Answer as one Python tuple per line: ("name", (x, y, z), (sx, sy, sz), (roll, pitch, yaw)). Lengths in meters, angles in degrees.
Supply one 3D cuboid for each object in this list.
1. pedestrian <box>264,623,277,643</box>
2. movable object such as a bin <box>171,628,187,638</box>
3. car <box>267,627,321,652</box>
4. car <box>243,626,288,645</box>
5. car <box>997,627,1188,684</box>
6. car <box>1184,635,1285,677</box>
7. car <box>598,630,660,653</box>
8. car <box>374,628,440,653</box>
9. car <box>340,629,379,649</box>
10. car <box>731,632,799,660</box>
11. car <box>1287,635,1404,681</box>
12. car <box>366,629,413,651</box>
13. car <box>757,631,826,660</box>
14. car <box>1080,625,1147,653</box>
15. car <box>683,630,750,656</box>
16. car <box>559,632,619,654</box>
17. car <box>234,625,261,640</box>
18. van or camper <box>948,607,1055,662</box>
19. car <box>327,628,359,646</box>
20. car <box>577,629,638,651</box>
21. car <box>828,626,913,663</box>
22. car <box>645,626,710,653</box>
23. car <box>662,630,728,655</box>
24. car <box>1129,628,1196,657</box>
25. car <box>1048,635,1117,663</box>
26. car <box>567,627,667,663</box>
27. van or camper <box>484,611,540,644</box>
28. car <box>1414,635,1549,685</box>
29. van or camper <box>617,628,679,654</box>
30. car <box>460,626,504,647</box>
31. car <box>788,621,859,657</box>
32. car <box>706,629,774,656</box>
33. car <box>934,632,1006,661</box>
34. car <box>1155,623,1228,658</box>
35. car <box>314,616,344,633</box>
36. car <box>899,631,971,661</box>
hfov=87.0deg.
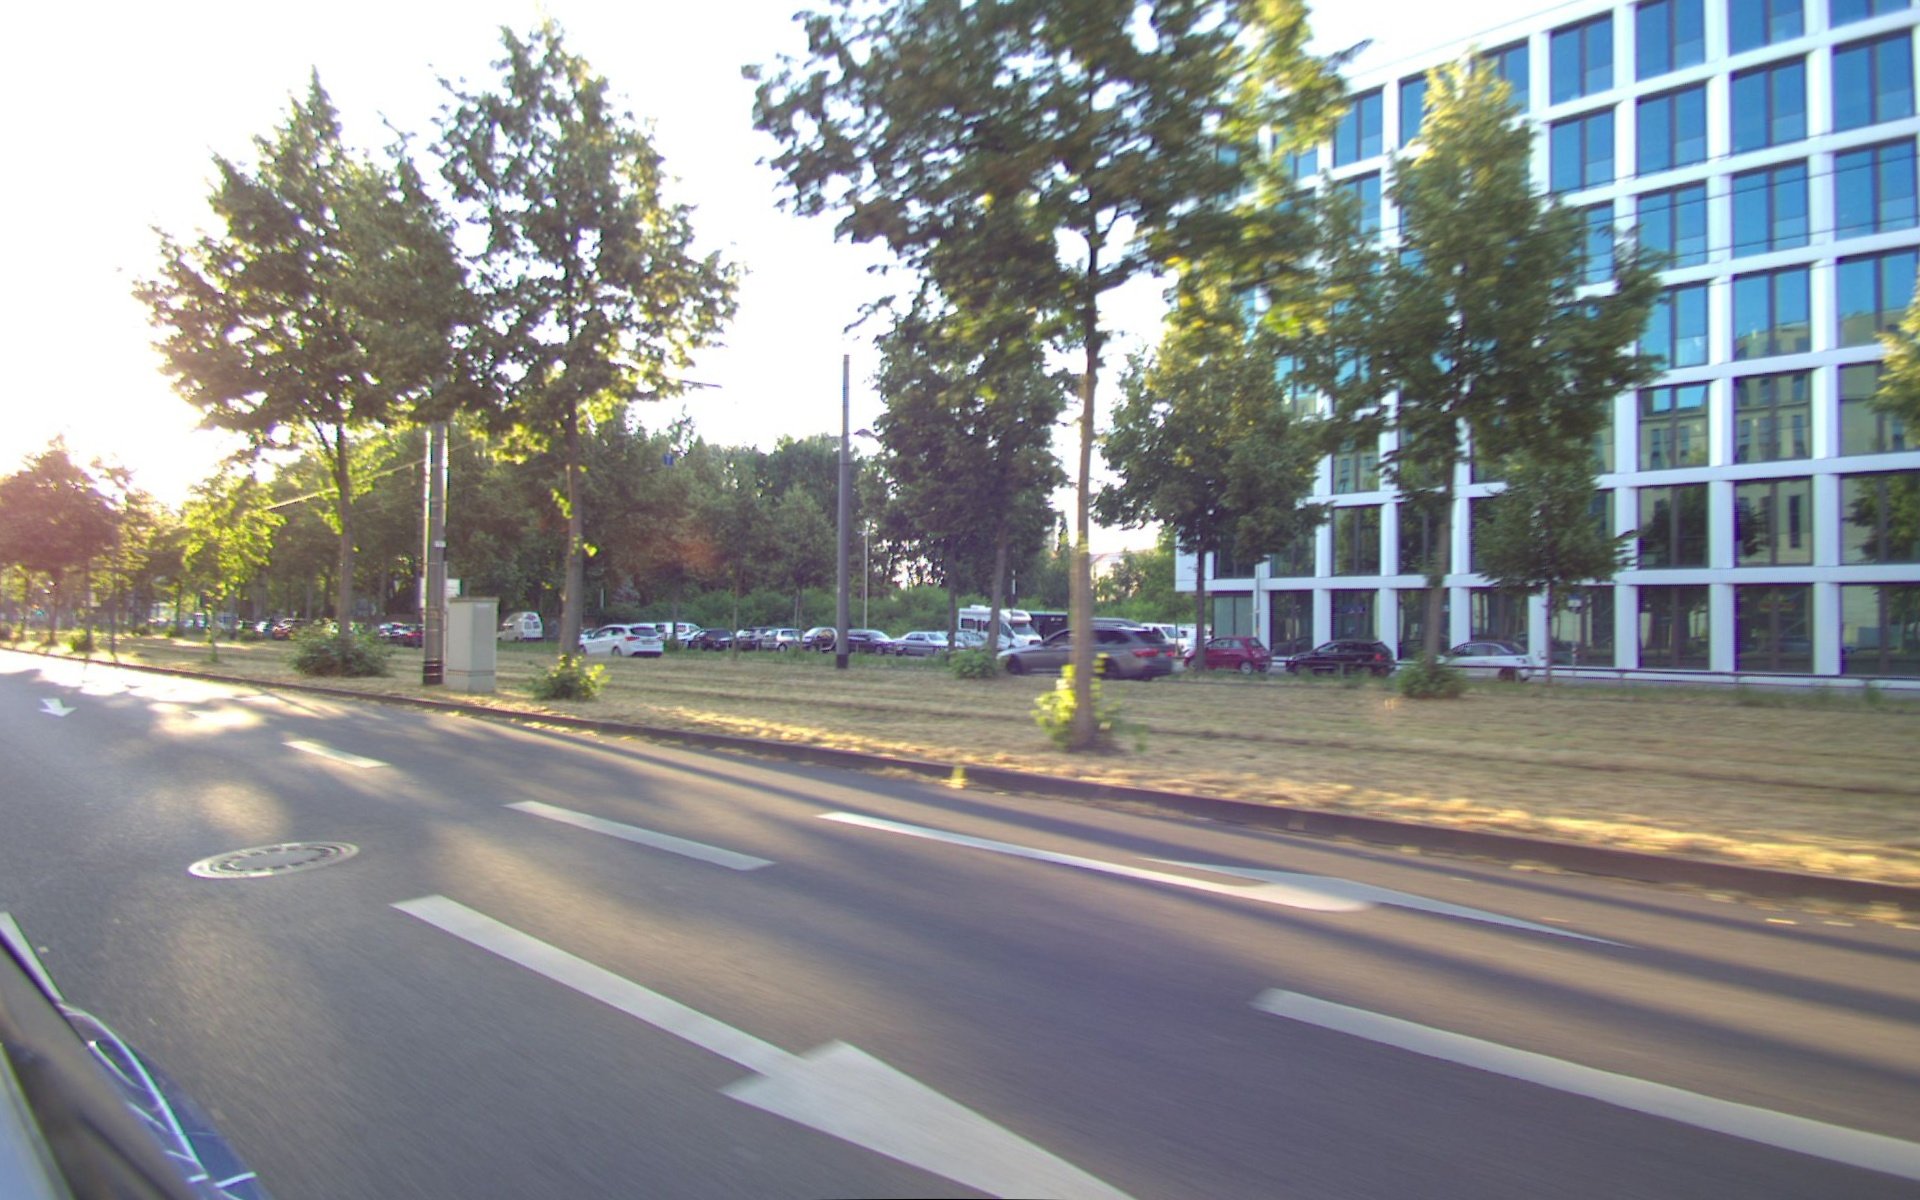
("pedestrian", (-66.029, 3.131, 96.941), (0.864, 1.884, 0.687), (-1, -2, 33))
("movable object such as a bin", (-111.792, 4.729, 144.810), (1.724, 1.383, 1.536), (-2, -3, 42))
("car", (-44.914, 2.646, 68.190), (4.178, 1.590, 1.866), (-1, -3, 39))
("car", (-55.768, 2.839, 81.261), (4.284, 1.519, 1.898), (-1, -2, 41))
("car", (3.315, 1.367, 26.011), (4.737, 1.342, 1.640), (-1, -2, 39))
("car", (10.981, 2.194, 40.602), (3.491, 1.594, 1.840), (-1, -2, 42))
("car", (-24.498, 3.049, 75.013), (1.919, 1.652, 3.950), (-1, -2, 37))
("car", (-30.500, 2.201, 55.788), (4.469, 1.342, 1.640), (-1, -2, 39))
("car", (-53.183, 3.418, 89.597), (1.970, 1.763, 4.163), (2, -3, -44))
("car", (-12.172, 2.848, 63.353), (1.919, 1.652, 3.950), (-1, -2, 37))
("car", (14.255, 2.095, 37.507), (3.664, 1.594, 1.840), (-1, -2, 42))
("car", (-48.564, 3.397, 86.121), (4.787, 1.763, 1.973), (-1, -2, 40))
("car", (-10.201, 2.740, 61.572), (1.919, 1.652, 3.950), (-1, -2, 37))
("car", (10.060, 2.540, 66.598), (4.001, 1.825, 1.894), (-2, -3, 44))
("car", (-15.939, 2.813, 66.358), (1.919, 1.652, 3.950), (-1, -2, 37))
("car", (-28.741, 3.335, 78.447), (1.922, 1.652, 3.944), (-2, -3, 42))
("car", (-81.371, 3.735, 115.559), (1.969, 1.652, 4.005), (2, -3, -42))
("van or camper", (2.443, 2.065, 61.007), (6.264, 3.109, 2.679), (-2, -2, 45))
("car", (-57.025, 3.411, 93.523), (1.782, 1.572, 3.841), (2, -3, -44))
("car", (-26.415, 2.992, 75.966), (1.919, 1.652, 3.950), (-1, -2, 37))
("car", (-5.129, 2.489, 57.590), (4.928, 2.029, 1.973), (-1, -3, 40))
("car", (-19.789, 2.751, 70.951), (2.011, 1.858, 3.945), (-2, -2, 41))
("car", (-17.993, 2.881, 68.828), (3.939, 1.652, 1.924), (2, -3, -43))
("car", (13.412, 2.797, 67.111), (4.001, 1.825, 1.894), (-2, -3, 44))
("car", (7.605, 3.034, 63.010), (4.001, 1.652, 1.894), (-2, -3, 44))
("car", (-13.812, 1.783, 40.637), (4.525, 1.342, 1.640), (-1, -2, 39))
("van or camper", (-37.910, 2.330, 85.629), (5.489, 2.756, 2.064), (-1, -2, 39))
("car", (17.881, 2.022, 34.756), (3.783, 1.594, 1.840), (-1, -2, 42))
("van or camper", (-22.348, 2.908, 72.700), (1.992, 1.805, 3.958), (-1, -2, 30))
("car", (-42.047, 3.197, 88.978), (3.997, 1.763, 1.973), (-1, -2, 40))
("car", (-8.111, 2.313, 60.455), (1.997, 2.029, 3.949), (-1, -2, 37))
("car", (-14.050, 2.692, 64.772), (1.919, 1.652, 3.950), (-1, -2, 37))
("car", (0.567, 2.713, 59.310), (4.001, 1.652, 1.894), (-2, -3, 44))
("car", (15.723, 2.750, 68.918), (2.073, 2.325, 4.515), (2, -2, -38))
("car", (-79.094, 3.075, 126.838), (5.060, 2.029, 1.971), (-2, -3, 44))
("car", (-1.464, 2.608, 57.708), (4.001, 1.652, 1.894), (-2, -3, 44))
